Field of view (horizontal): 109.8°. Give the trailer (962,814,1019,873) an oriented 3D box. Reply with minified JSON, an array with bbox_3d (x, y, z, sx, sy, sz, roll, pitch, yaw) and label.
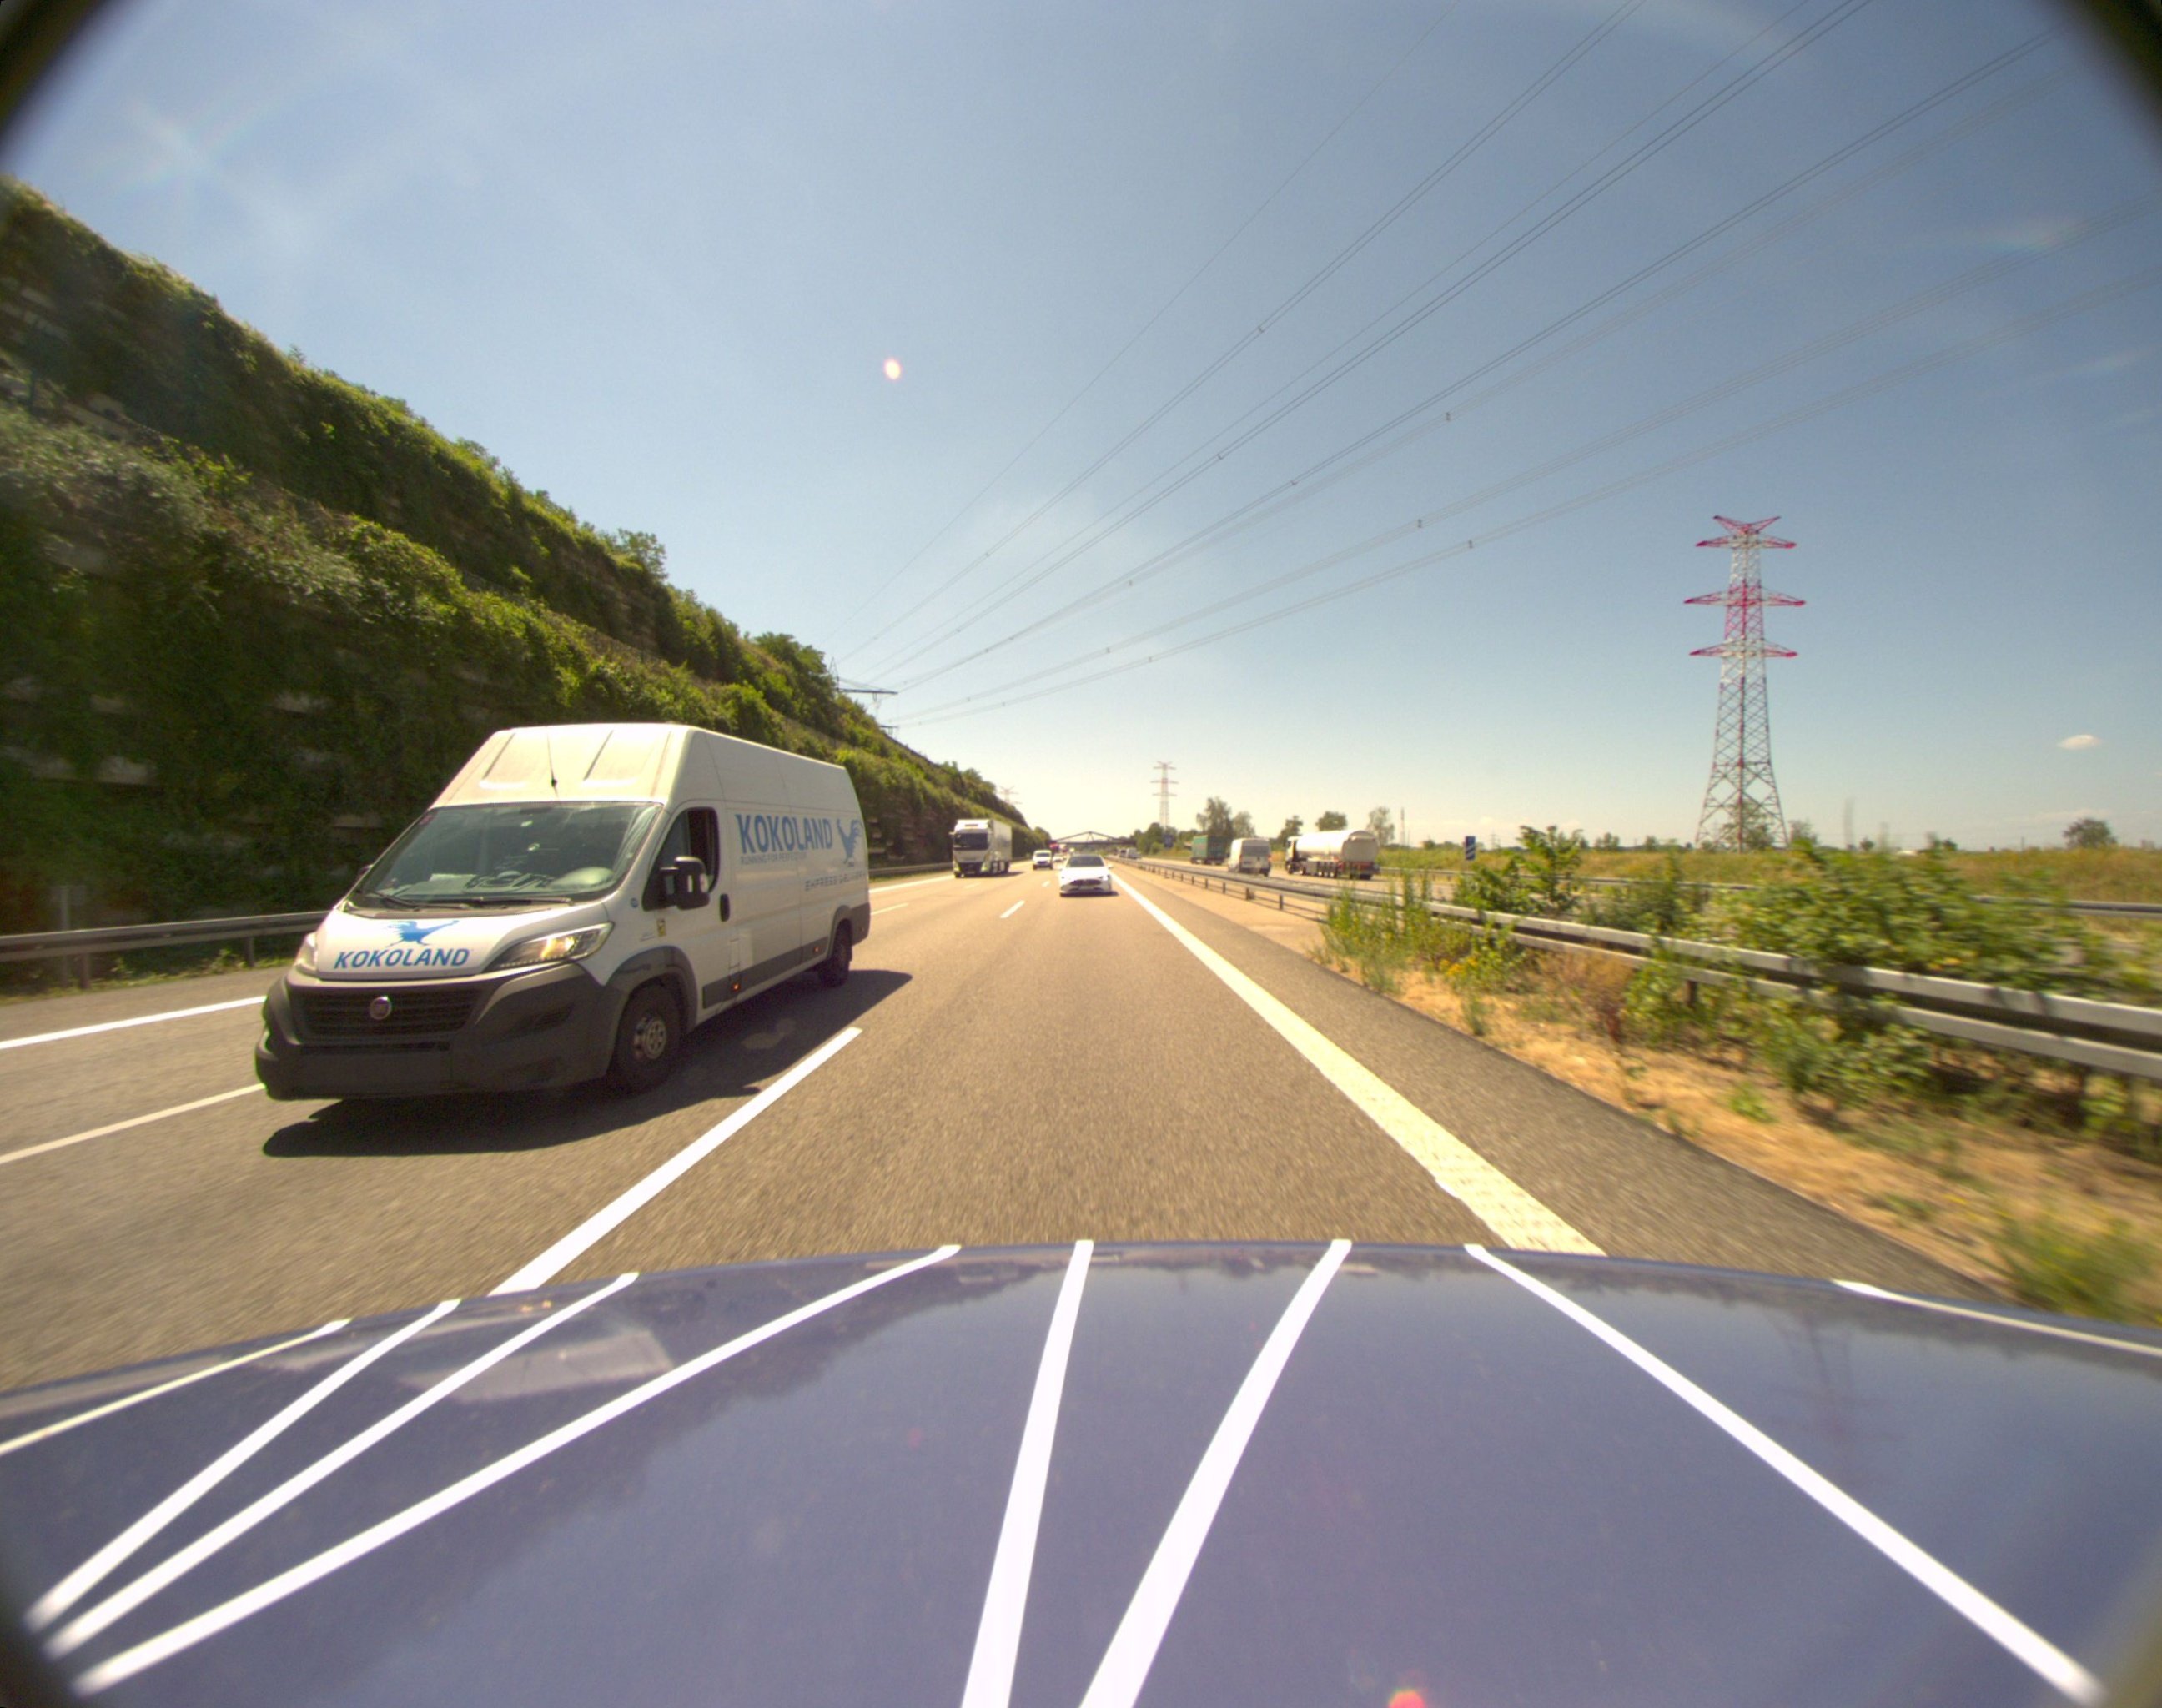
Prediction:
[{"bbox_3d":[-7.107,-0.777,62.230,2.521,4.187,17.025,-1,0,0],"label":"trailer"}]

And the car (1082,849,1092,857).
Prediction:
[{"bbox_3d":[1.083,-0.259,144.498,1.784,1.475,3.999,0,0,-1],"label":"car"}]

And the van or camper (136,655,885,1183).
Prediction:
[{"bbox_3d":[-3.870,0.327,7.387,2.102,2.753,6.756,-1,0,0],"label":"van or camper"}]

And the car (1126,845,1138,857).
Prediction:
[{"bbox_3d":[10.547,-0.717,158.649,2.053,2.424,6.068,1,1,0],"label":"car"}]

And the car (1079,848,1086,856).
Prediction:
[{"bbox_3d":[0.418,-0.628,204.209,1.998,2.002,3.999,-2,1,1],"label":"car"}]

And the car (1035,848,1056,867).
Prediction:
[{"bbox_3d":[-3.351,0.316,72.220,1.784,1.783,3.999,-1,0,0],"label":"car"}]

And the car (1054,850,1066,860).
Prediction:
[{"bbox_3d":[-3.298,0.103,121.364,1.784,1.475,3.999,-1,0,-1],"label":"car"}]

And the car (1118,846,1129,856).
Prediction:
[{"bbox_3d":[10.297,-0.808,184.609,2.114,2.284,6.706,0,0,0],"label":"car"}]

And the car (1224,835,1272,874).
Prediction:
[{"bbox_3d":[11.121,0.006,51.009,1.998,2.423,6.030,0,1,2],"label":"car"}]

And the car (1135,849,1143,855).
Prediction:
[{"bbox_3d":[14.883,-0.524,194.881,1.712,1.515,4.513,2,0,0],"label":"car"}]

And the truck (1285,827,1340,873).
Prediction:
[{"bbox_3d":[18.010,-0.319,59.497,2.489,3.359,6.211,0,1,1],"label":"truck"}]

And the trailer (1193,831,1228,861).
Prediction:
[{"bbox_3d":[18.465,-1.124,109.246,2.676,4.061,13.914,0,0,0],"label":"trailer"}]

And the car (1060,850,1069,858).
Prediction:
[{"bbox_3d":[-3.360,-0.009,158.660,1.784,1.475,3.999,-1,0,-1],"label":"car"}]

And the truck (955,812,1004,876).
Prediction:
[{"bbox_3d":[-7.091,-0.712,53.612,2.514,4.196,6.255,-1,1,0],"label":"truck"}]

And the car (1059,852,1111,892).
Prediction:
[{"bbox_3d":[0.142,0.694,31.494,1.999,1.474,4.107,-1,0,0],"label":"car"}]

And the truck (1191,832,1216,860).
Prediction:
[{"bbox_3d":[18.519,-1.145,114.885,2.706,4.110,6.580,0,1,0],"label":"truck"}]

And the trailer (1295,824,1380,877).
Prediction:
[{"bbox_3d":[17.939,-0.277,54.114,2.422,3.352,11.563,0,0,2],"label":"trailer"}]
